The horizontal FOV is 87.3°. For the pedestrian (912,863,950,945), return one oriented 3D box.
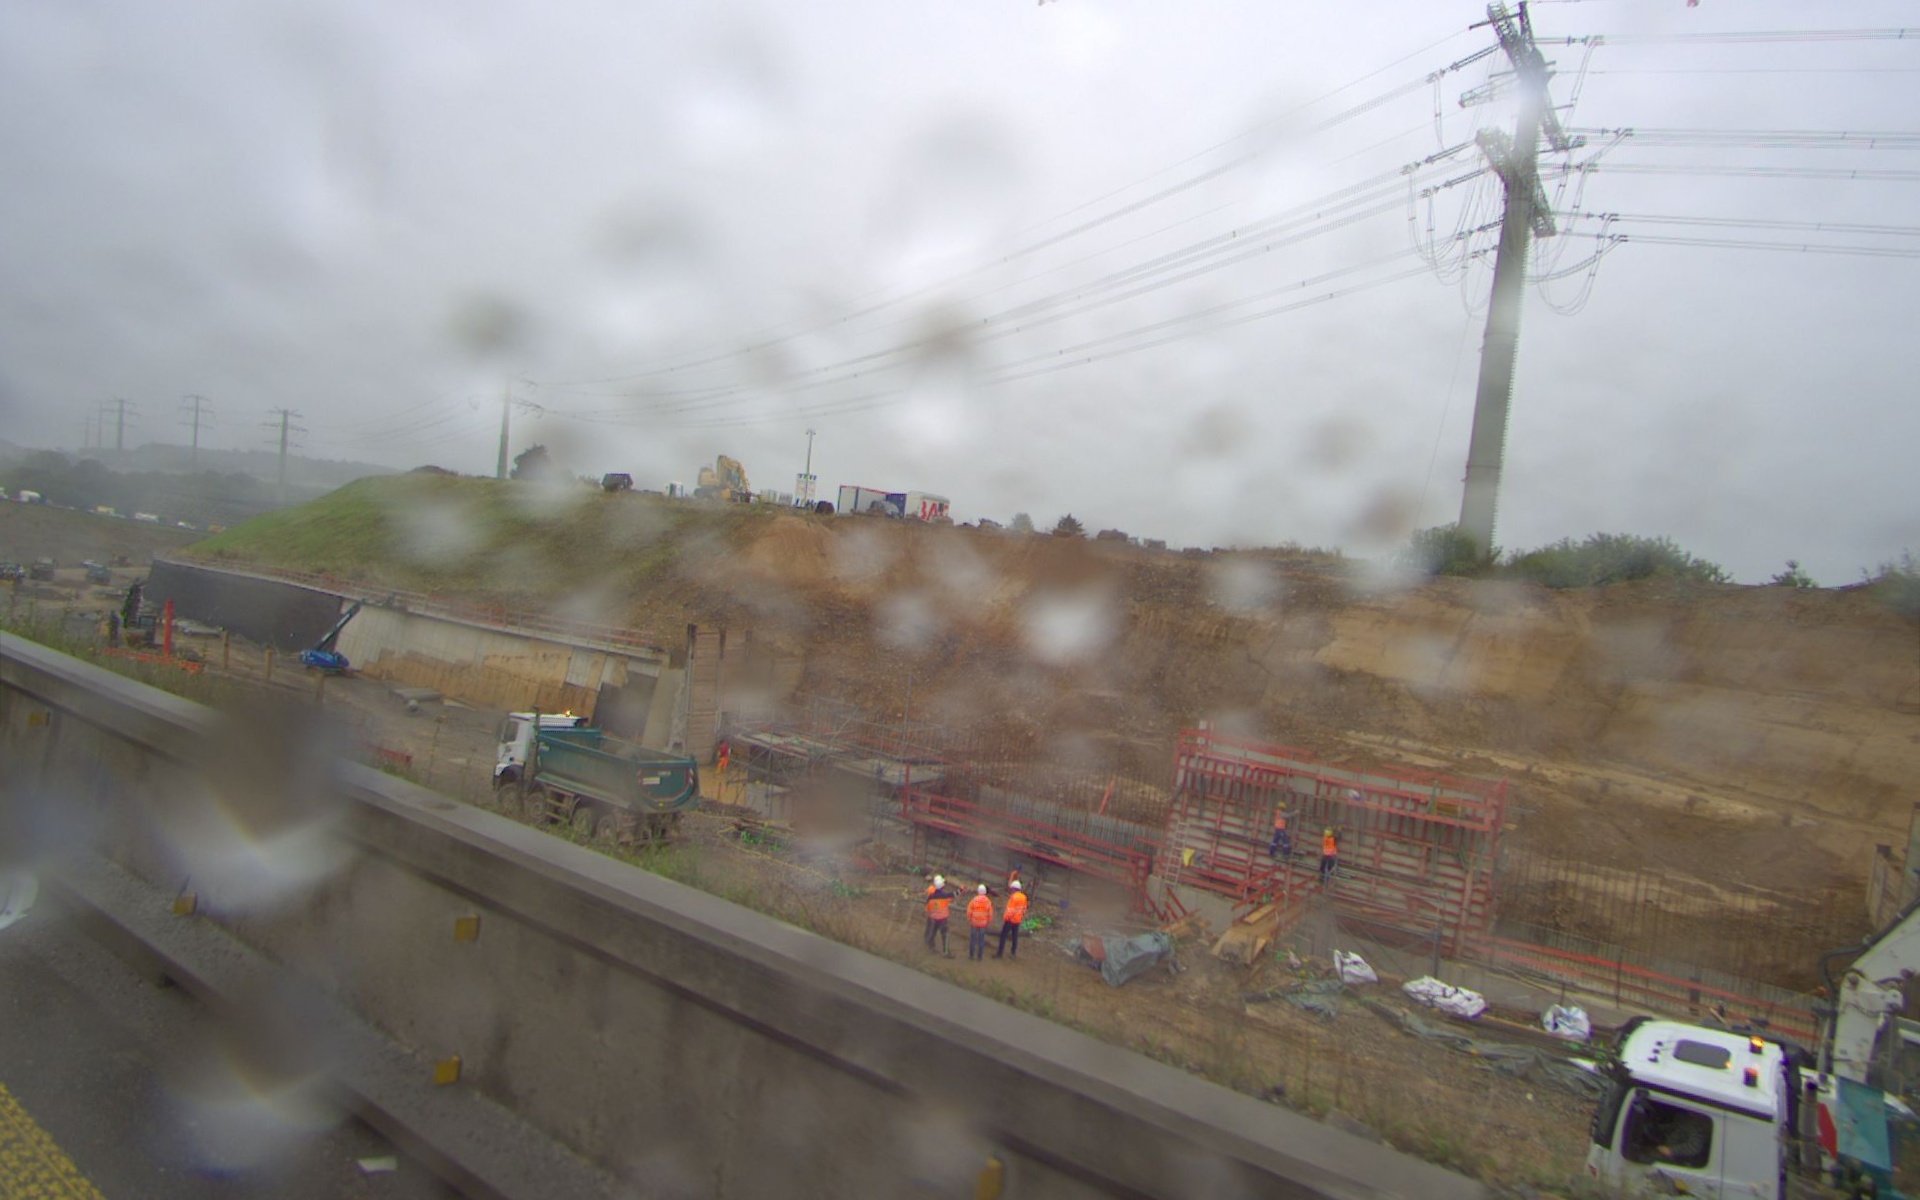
[{"bbox_3d":[-0.747,7.818,25.927,0.567,1.892,0.731,7,0,-22],"label":"pedestrian"}]

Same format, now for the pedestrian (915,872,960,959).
[{"bbox_3d":[-0.554,7.817,25.002,0.724,1.892,0.573,7,0,38],"label":"pedestrian"}]

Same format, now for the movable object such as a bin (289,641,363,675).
[{"bbox_3d":[-45.413,4.131,72.101,3.772,2.036,2.001,6,-3,-5],"label":"movable object such as a bin"}]

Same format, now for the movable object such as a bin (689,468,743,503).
[{"bbox_3d":[-21.193,-9.965,87.350,3.910,2.473,2.428,9,1,40],"label":"movable object such as a bin"}]

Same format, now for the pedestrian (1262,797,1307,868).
[{"bbox_3d":[10.446,7.477,32.396,0.885,2.013,0.907,6,-11,36],"label":"pedestrian"}]

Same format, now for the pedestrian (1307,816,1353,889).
[{"bbox_3d":[11.597,7.918,31.498,0.885,2.013,0.907,6,-11,36],"label":"pedestrian"}]

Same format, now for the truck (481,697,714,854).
[{"bbox_3d":[-12.581,5.738,34.444,8.926,3.532,2.731,6,-1,37],"label":"truck"}]

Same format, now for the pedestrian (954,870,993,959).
[{"bbox_3d":[0.340,7.834,25.071,0.721,1.968,0.575,7,0,4],"label":"pedestrian"}]

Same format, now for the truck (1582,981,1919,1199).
[{"bbox_3d":[12.076,7.550,10.770,8.830,3.545,2.694,6,-1,44],"label":"truck"}]

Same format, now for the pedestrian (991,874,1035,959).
[{"bbox_3d":[1.333,7.970,25.371,0.725,1.968,0.573,7,0,-20],"label":"pedestrian"}]

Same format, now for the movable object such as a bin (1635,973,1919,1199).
[{"bbox_3d":[12.726,8.086,15.985,2.920,2.770,3.155,6,-1,32],"label":"movable object such as a bin"}]

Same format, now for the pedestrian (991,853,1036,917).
[{"bbox_3d":[1.900,10.162,35.845,0.891,2.013,0.901,6,-11,35],"label":"pedestrian"}]
